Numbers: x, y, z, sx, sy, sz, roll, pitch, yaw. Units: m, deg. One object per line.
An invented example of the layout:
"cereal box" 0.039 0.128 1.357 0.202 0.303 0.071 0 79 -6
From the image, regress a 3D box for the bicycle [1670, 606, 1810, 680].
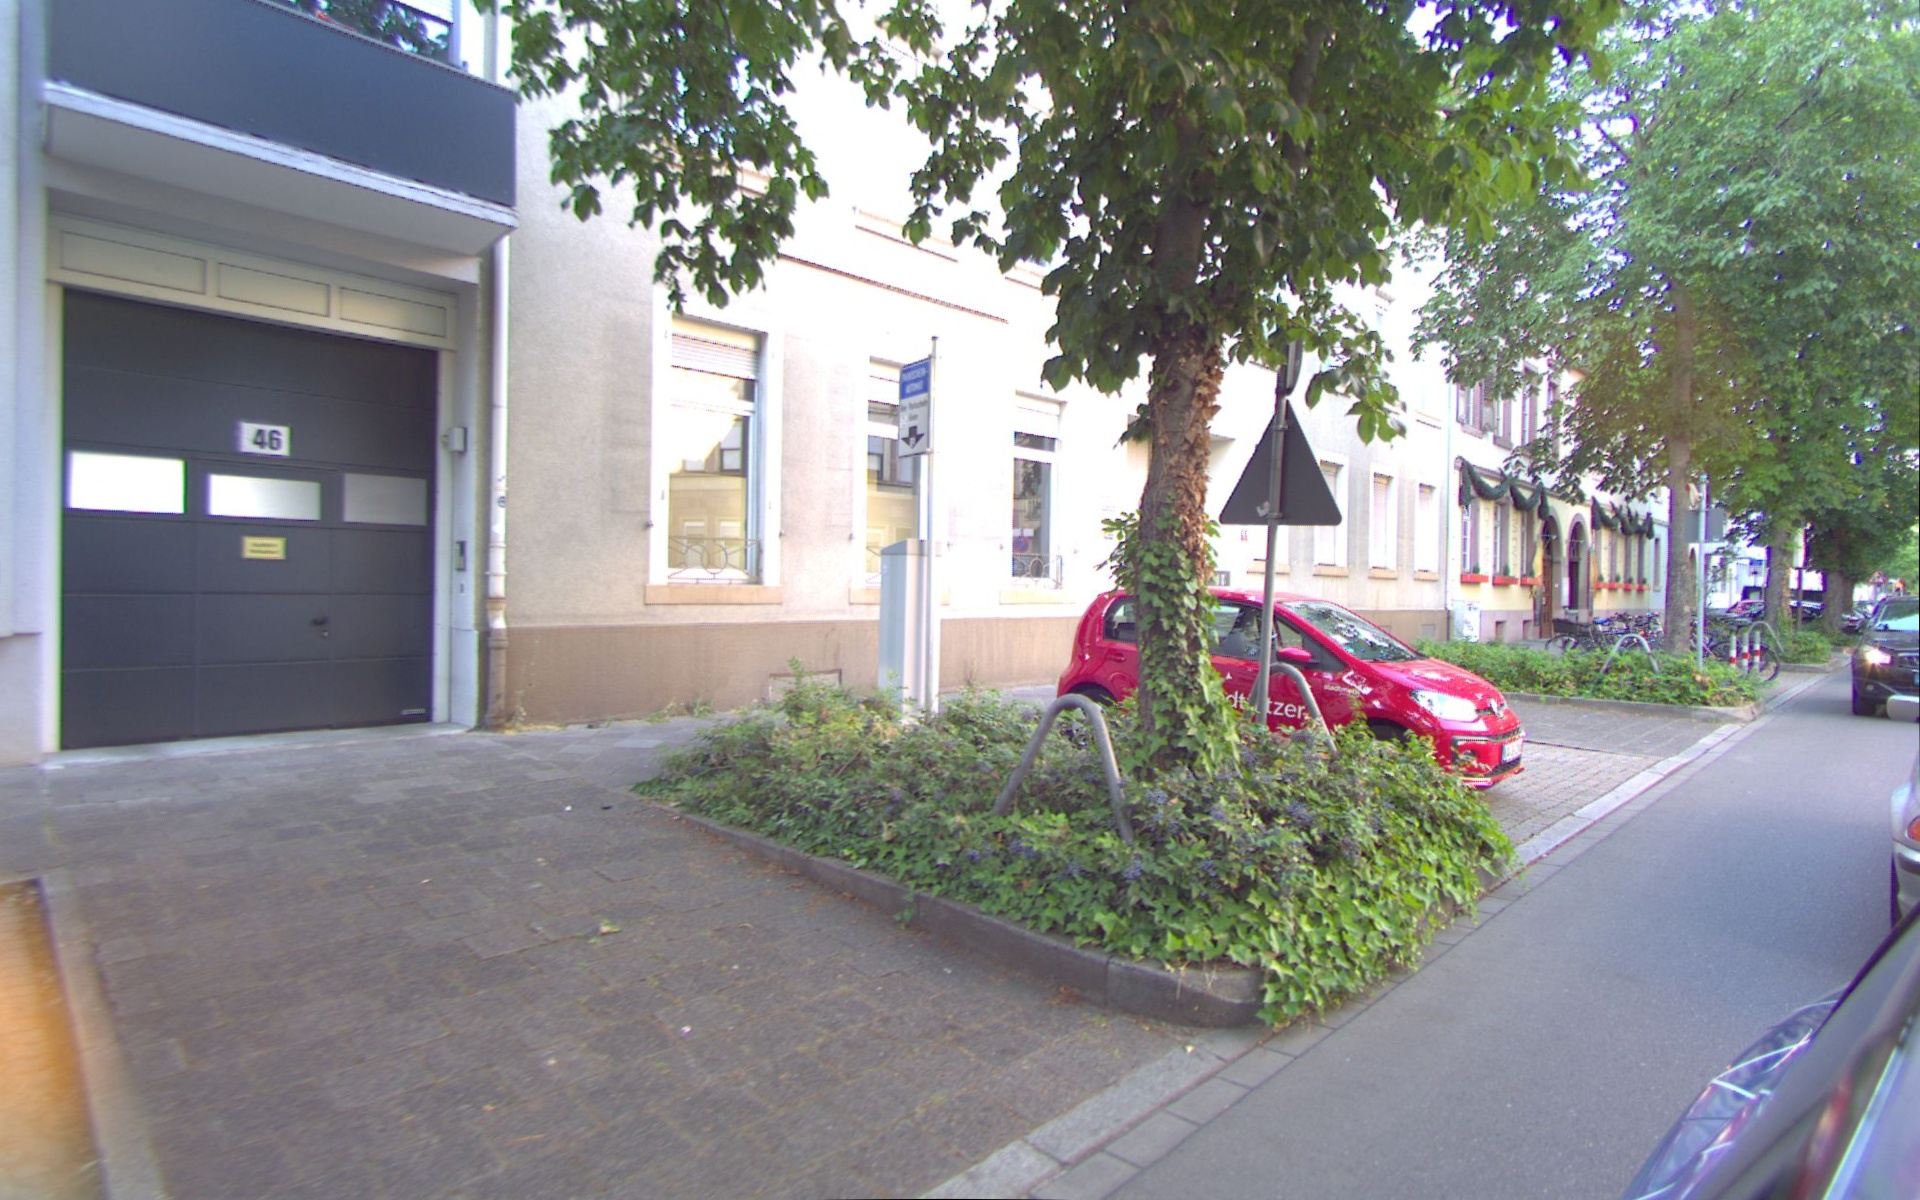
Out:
"bicycle" 14.448 0.773 18.786 2.020 1.242 0.528 2 1 40

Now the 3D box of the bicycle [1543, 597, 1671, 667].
"bicycle" 12.411 0.592 19.462 2.016 1.242 0.529 2 1 35

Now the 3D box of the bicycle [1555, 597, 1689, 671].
"bicycle" 12.171 0.602 18.660 2.016 1.242 0.529 2 1 35

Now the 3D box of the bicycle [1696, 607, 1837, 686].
"bicycle" 13.907 0.773 17.517 1.836 1.242 0.529 2 1 35

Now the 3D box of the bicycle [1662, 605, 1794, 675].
"bicycle" 15.118 0.756 19.959 2.020 1.242 0.528 2 1 40

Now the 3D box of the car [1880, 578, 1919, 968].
"car" 5.719 0.657 4.644 4.358 1.460 1.710 0 1 -41

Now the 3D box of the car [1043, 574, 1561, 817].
"car" 2.585 0.557 8.163 3.611 1.495 1.638 2 1 44

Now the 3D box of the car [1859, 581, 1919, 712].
"car" 13.237 0.569 13.287 3.933 1.571 1.803 0 1 -44

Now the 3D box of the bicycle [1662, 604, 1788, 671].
"bicycle" 15.622 0.745 20.697 2.020 1.242 0.528 2 1 40

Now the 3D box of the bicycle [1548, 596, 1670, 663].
"bicycle" 13.071 0.577 20.436 2.018 1.242 0.528 2 1 39

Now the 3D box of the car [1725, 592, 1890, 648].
"car" 29.203 0.631 34.962 4.234 1.761 1.714 2 1 45
